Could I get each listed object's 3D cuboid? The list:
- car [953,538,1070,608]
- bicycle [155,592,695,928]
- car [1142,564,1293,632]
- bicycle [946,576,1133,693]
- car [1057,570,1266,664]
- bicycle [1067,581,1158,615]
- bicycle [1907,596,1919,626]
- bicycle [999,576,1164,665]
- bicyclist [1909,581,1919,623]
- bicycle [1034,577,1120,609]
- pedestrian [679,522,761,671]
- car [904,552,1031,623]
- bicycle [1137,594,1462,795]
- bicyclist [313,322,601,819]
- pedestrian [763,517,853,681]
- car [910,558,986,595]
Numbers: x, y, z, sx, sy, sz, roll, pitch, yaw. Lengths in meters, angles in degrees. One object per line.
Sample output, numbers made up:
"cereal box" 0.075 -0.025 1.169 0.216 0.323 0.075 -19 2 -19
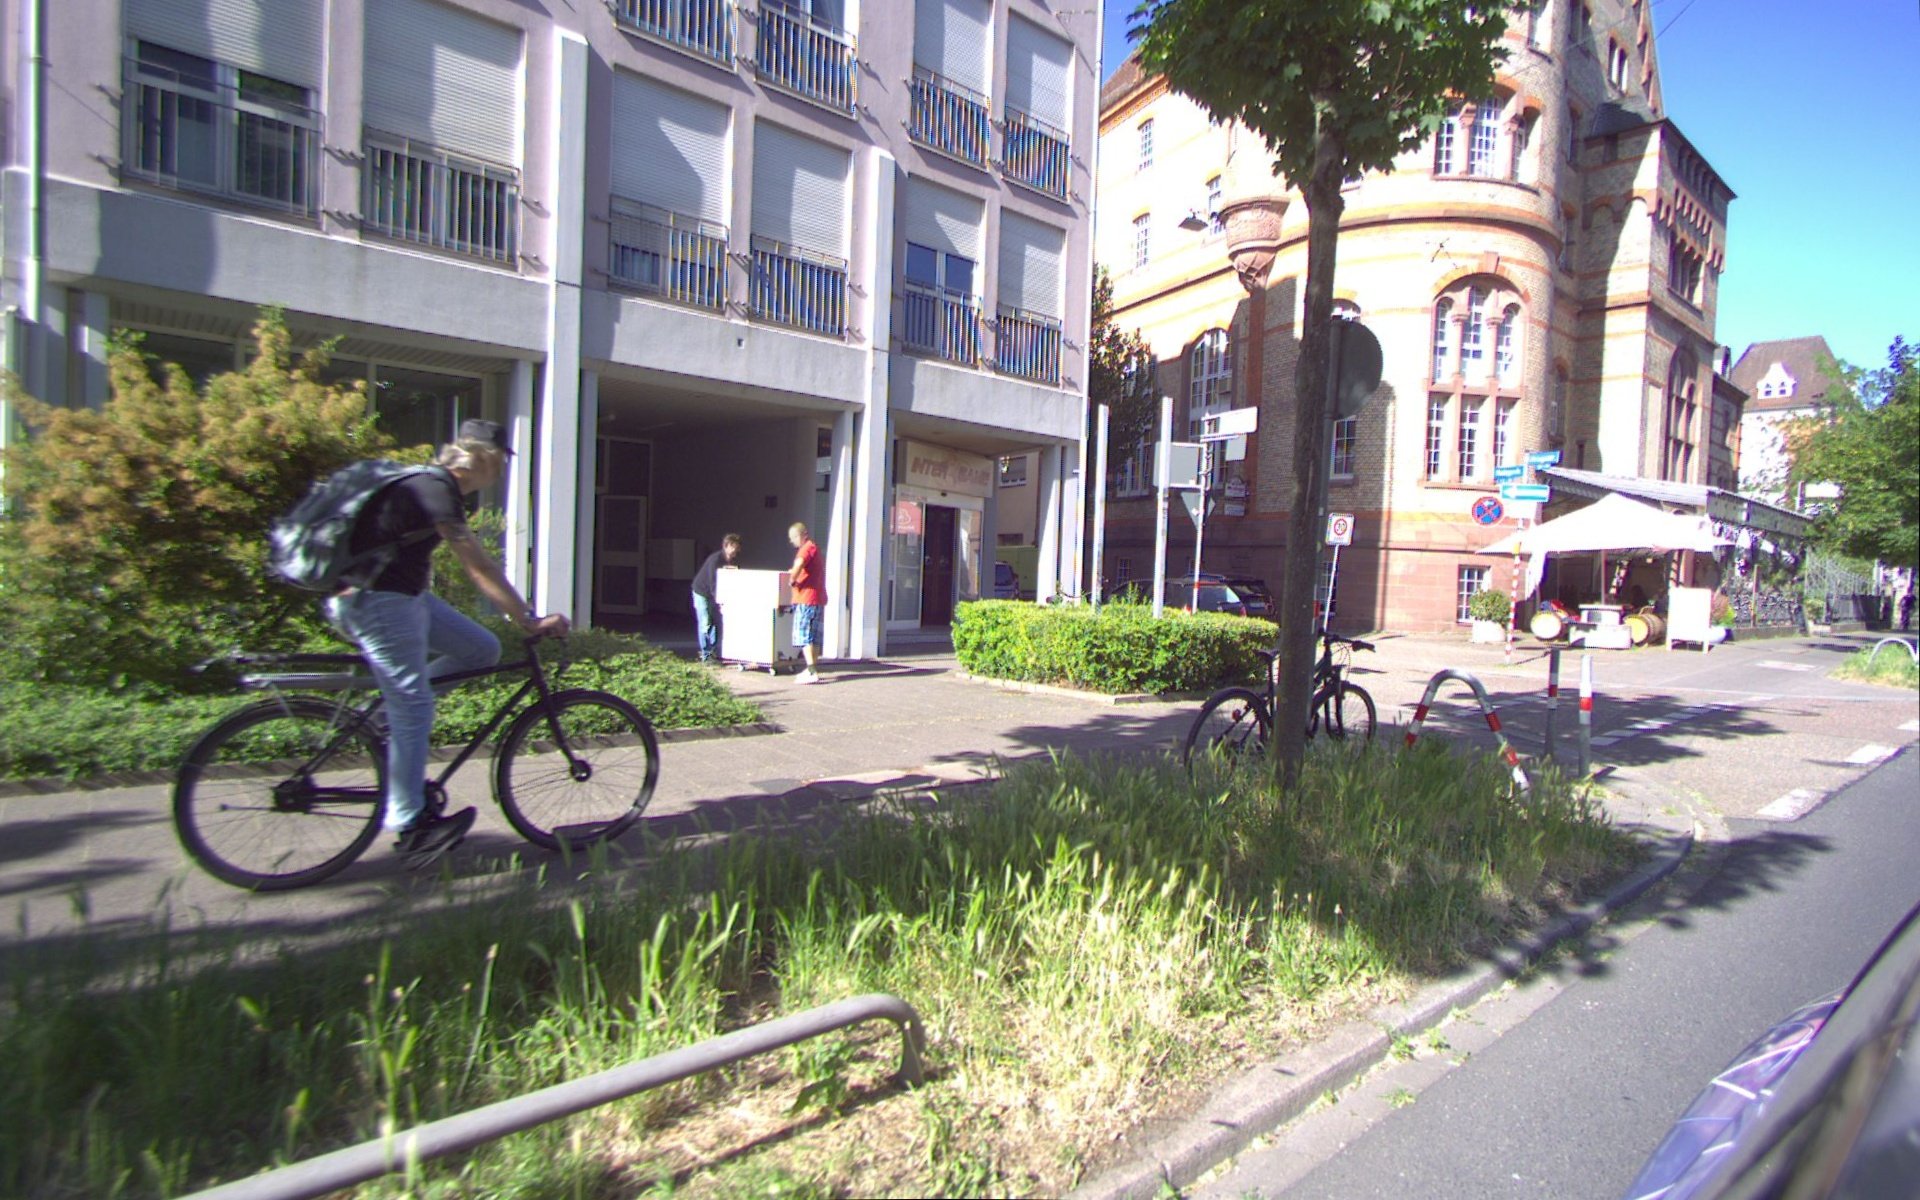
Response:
"car" 1.787 -0.991 36.910 2.093 2.331 4.815 1 1 -27
"bicycle" -2.046 0.507 4.062 1.828 1.040 0.590 -1 3 -42
"car" 6.619 -0.117 26.464 1.758 1.541 3.966 -2 3 -24
"bicycle" 0.815 0.336 11.127 0.675 1.040 2.202 3 2 -38
"car" 3.665 0.220 19.099 1.824 1.541 3.964 -1 2 -27
"bicycle" 4.809 -0.087 31.923 2.714 1.040 1.061 0 1 -26
"bicycle" 39.904 0.460 41.927 1.810 1.190 0.654 1 5 -40
"bicycle" 1.636 0.287 13.442 2.159 1.040 0.688 4 2 -33
"bicyclist" 39.866 0.108 41.853 0.873 1.715 0.647 2 4 -40
"bicycle" 3.925 -0.231 33.854 2.714 1.040 1.061 0 1 -26
"pedestrian" -2.754 -0.058 11.592 0.654 1.622 0.594 7 6 44
"car" 0.107 -0.363 27.147 1.758 1.728 3.964 1 1 -27
"bicycle" 2.104 0.535 6.211 1.980 1.079 0.594 1 1 -24
"bicyclist" -2.004 -0.115 4.040 0.874 1.716 0.668 0 2 -42
"pedestrian" -1.598 -0.031 10.627 0.654 1.622 0.594 7 6 44
"car" -0.555 -0.953 42.804 1.620 1.476 3.902 1 0 -27
